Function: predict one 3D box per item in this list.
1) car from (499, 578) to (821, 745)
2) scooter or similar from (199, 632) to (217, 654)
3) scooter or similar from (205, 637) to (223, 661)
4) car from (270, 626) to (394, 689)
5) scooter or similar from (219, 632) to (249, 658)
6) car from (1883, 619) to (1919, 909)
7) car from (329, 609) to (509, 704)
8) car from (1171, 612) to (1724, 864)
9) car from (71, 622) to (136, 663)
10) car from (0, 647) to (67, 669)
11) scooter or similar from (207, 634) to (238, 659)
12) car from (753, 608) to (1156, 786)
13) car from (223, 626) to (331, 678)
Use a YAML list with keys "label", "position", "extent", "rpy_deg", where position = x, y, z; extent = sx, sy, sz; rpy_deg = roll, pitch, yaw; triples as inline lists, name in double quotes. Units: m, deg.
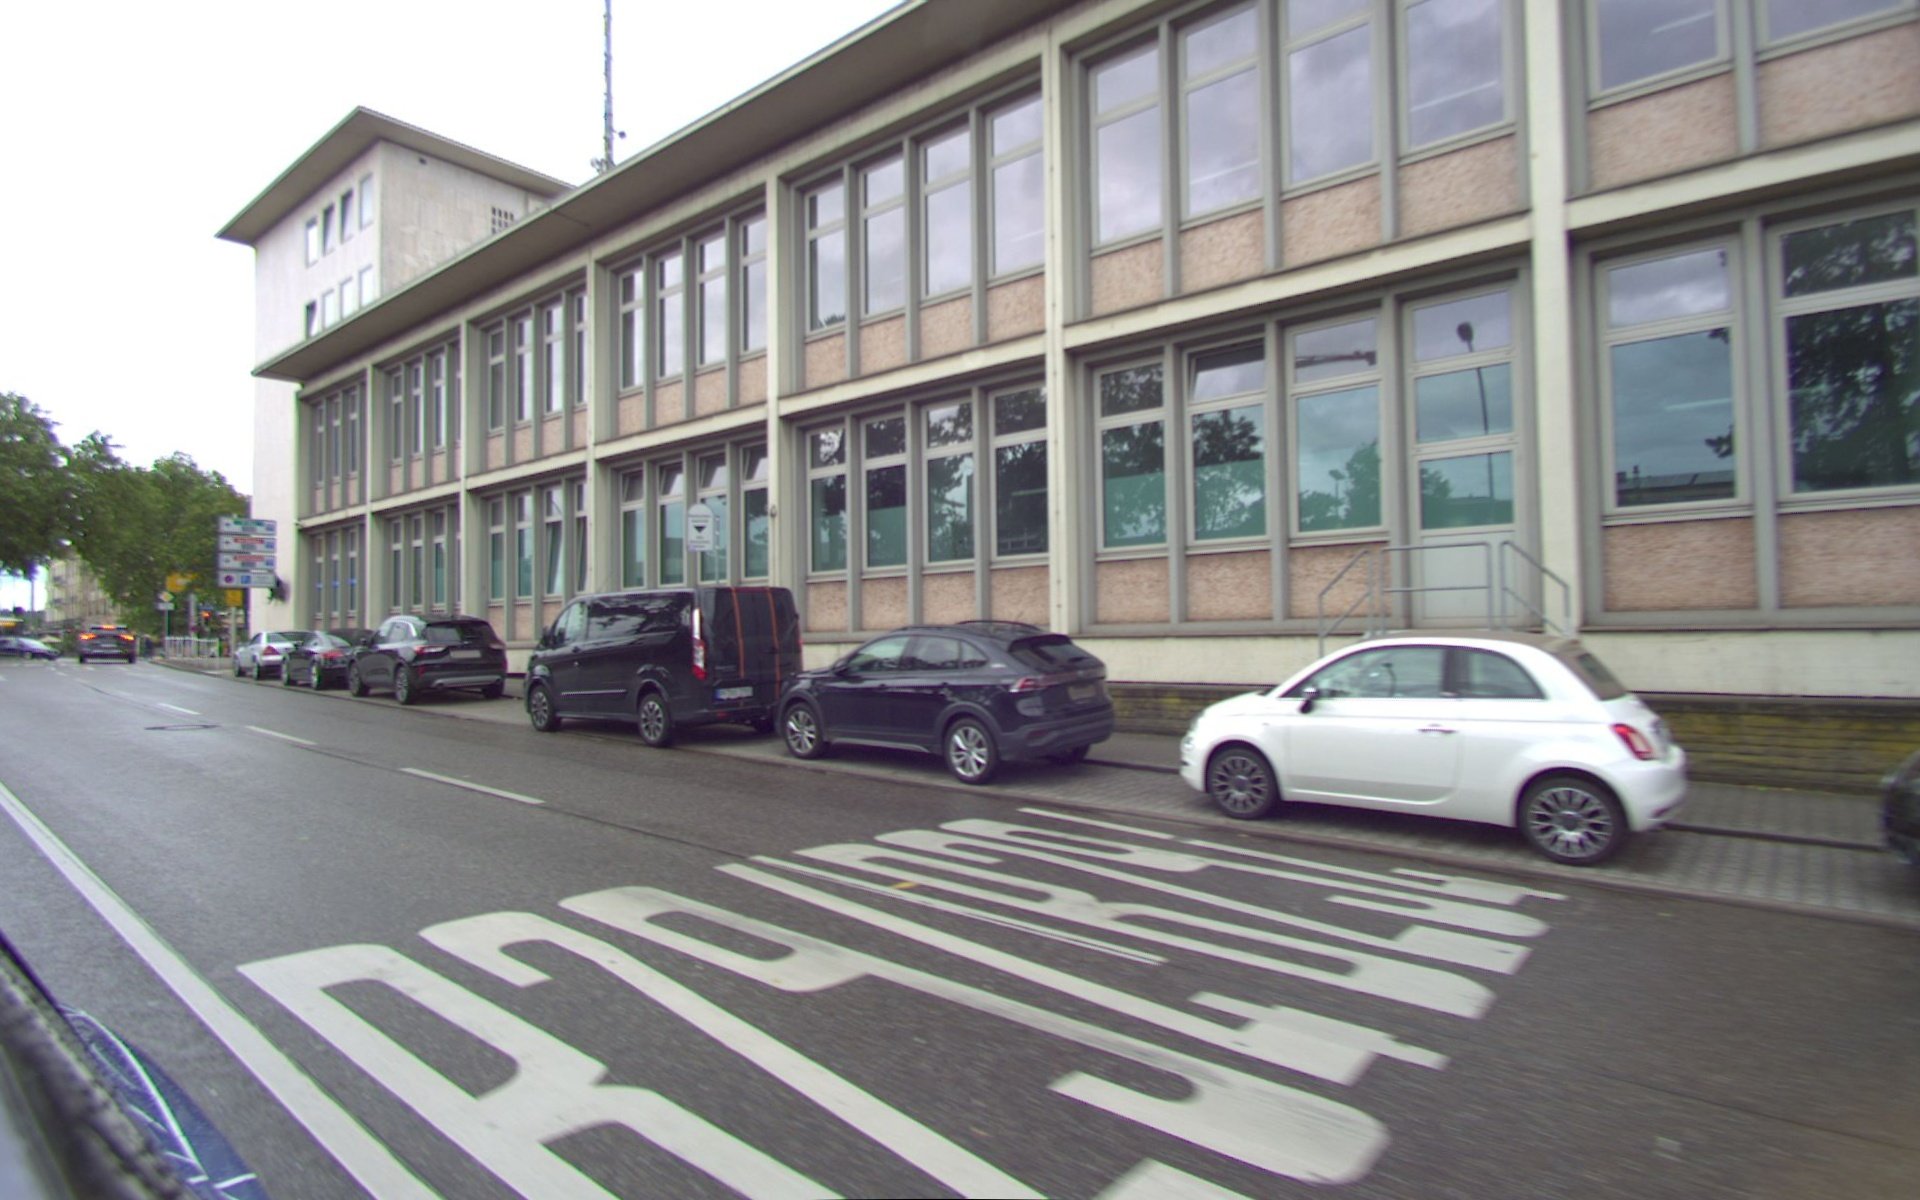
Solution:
- label: "car"
  position: [-4.349, 0.766, 14.202]
  extent: [4.992, 1.958, 1.929]
  rpy_deg: [-1, -1, 40]
- label: "scooter or similar"
  position: [-39.176, 2.248, 52.742]
  extent: [1.502, 1.176, 0.483]
  rpy_deg: [-3, -4, 44]
- label: "scooter or similar"
  position: [-38.055, 2.493, 51.622]
  extent: [0.563, 1.201, 1.575]
  rpy_deg: [3, -4, -43]
- label: "car"
  position: [-14.823, 1.299, 23.813]
  extent: [4.111, 1.364, 1.525]
  rpy_deg: [-2, -2, 44]
- label: "scooter or similar"
  position: [-34.395, 2.141, 47.956]
  extent: [0.599, 1.201, 1.532]
  rpy_deg: [1, -3, -13]
- label: "car"
  position: [7.351, 0.810, 4.350]
  extent: [4.907, 1.495, 1.796]
  rpy_deg: [-2, -2, 41]
- label: "car"
  position: [-10.859, 1.072, 20.172]
  extent: [4.603, 1.688, 1.777]
  rpy_deg: [-2, -2, 43]
- label: "car"
  position: [3.593, 0.876, 7.778]
  extent: [3.550, 1.495, 1.550]
  rpy_deg: [-2, -2, 40]
- label: "car"
  position: [-36.350, 1.812, 42.921]
  extent: [1.800, 1.673, 4.341]
  rpy_deg: [3, -4, -44]
- label: "car"
  position: [-61.570, 3.810, 66.487]
  extent: [4.358, 1.420, 1.819]
  rpy_deg: [0, -3, 5]
- label: "scooter or similar"
  position: [-35.485, 2.230, 48.714]
  extent: [0.599, 1.201, 1.532]
  rpy_deg: [1, -3, -13]
- label: "car"
  position: [-0.215, 0.923, 11.071]
  extent: [4.311, 1.564, 1.841]
  rpy_deg: [-2, -2, 42]
- label: "car"
  position: [-18.765, 1.383, 27.744]
  extent: [4.094, 1.307, 1.672]
  rpy_deg: [-2, -2, 44]
